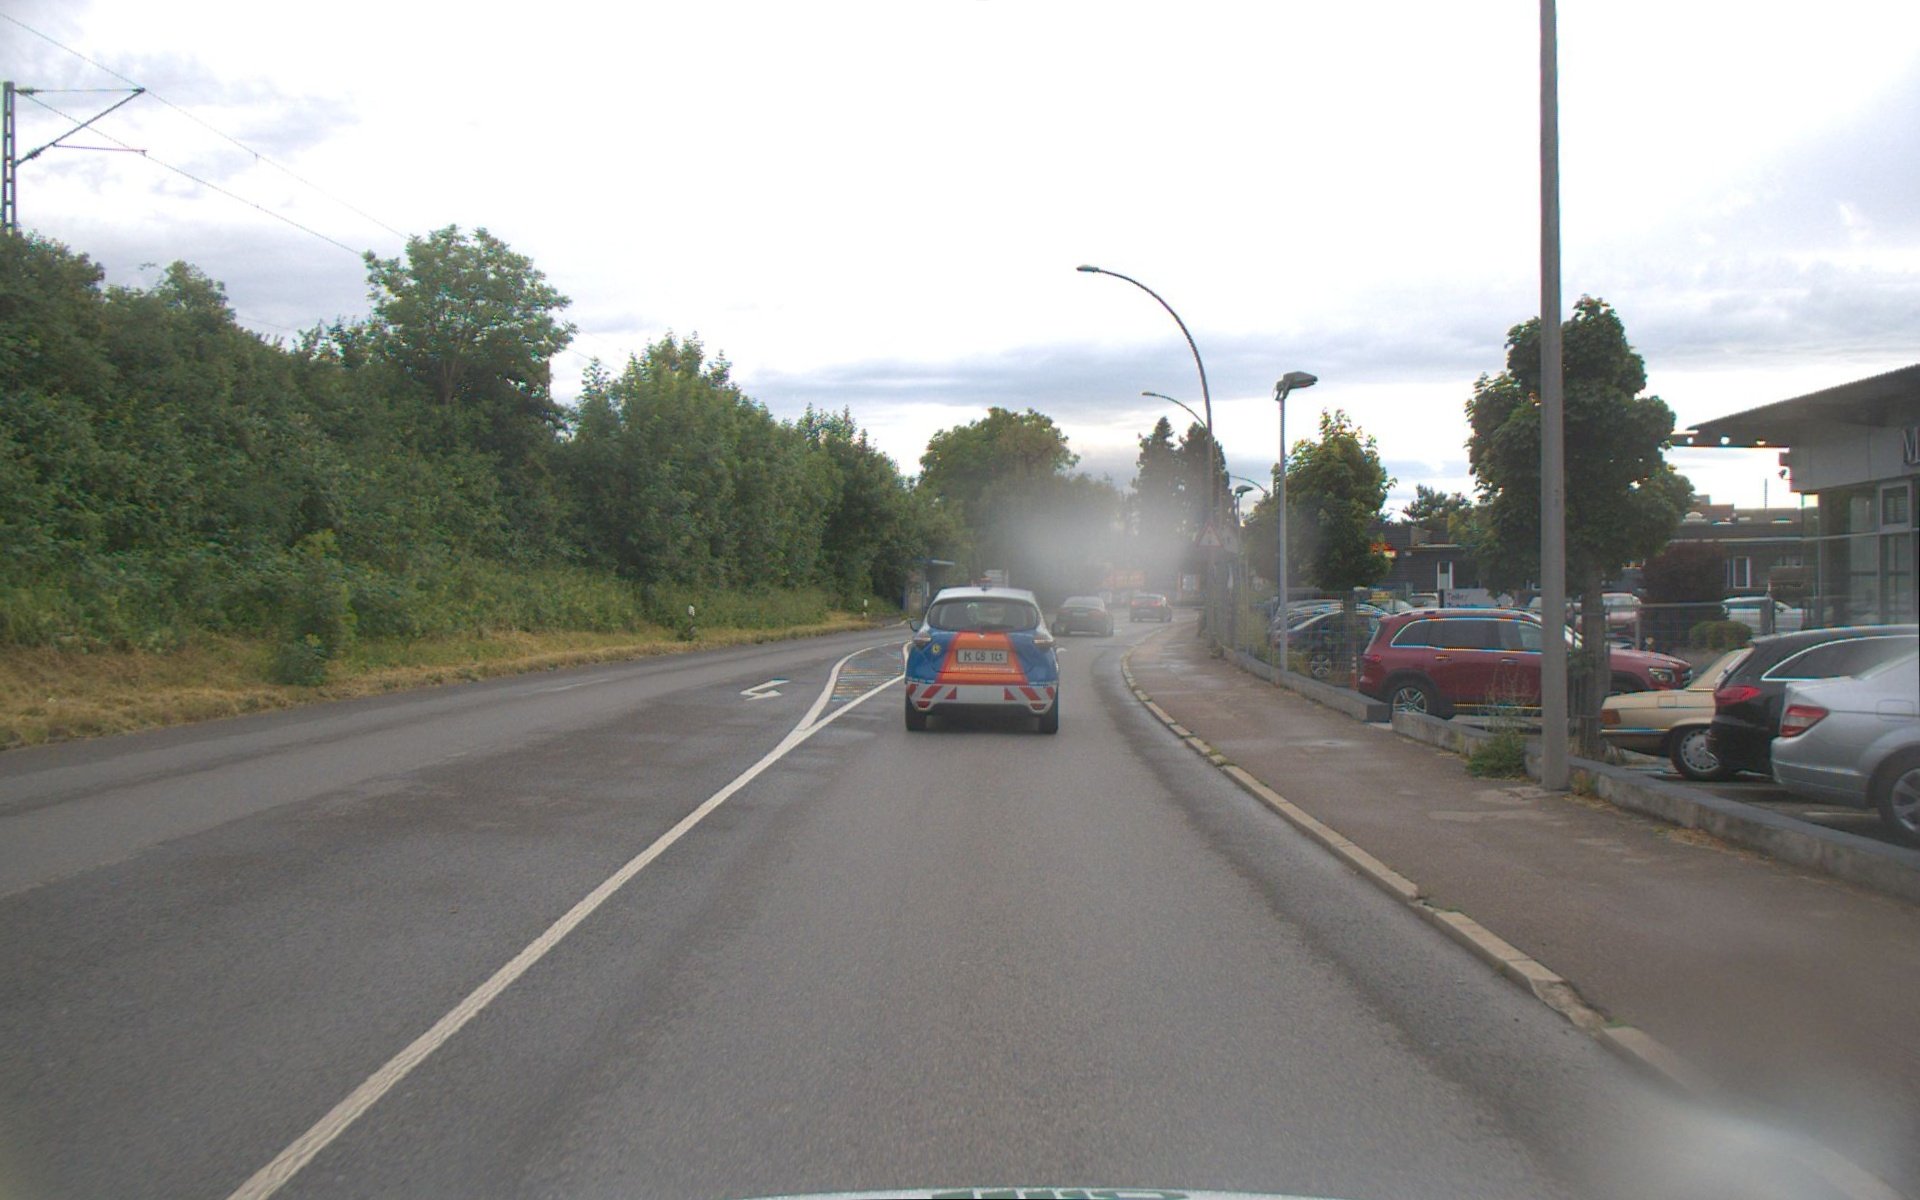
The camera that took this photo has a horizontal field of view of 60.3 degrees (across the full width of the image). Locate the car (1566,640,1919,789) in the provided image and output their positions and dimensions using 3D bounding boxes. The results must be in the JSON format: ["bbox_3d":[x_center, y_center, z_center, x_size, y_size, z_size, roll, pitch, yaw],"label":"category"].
[{"bbox_3d":[8.392,1.113,16.551,4.144,1.324,1.731,0,-2,31],"label":"car"}]

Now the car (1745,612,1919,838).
[{"bbox_3d":[7.674,0.817,11.124,4.089,1.493,1.831,-1,-1,35],"label":"car"}]

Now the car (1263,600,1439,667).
[{"bbox_3d":[9.477,0.812,40.302,3.904,1.433,1.594,3,-1,2],"label":"car"}]

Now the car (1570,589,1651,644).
[{"bbox_3d":[19.006,0.504,48.238,1.954,1.445,3.997,2,-1,24],"label":"car"}]

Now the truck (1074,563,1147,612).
[{"bbox_3d":[12.037,-0.947,131.403,2.645,3.471,9.062,2,-1,26],"label":"truck"}]

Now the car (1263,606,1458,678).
[{"bbox_3d":[9.076,0.947,37.756,4.021,1.394,2.001,3,-1,5],"label":"car"}]

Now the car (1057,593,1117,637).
[{"bbox_3d":[4.471,0.534,57.906,1.684,1.400,3.937,2,-1,10],"label":"car"}]

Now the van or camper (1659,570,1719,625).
[{"bbox_3d":[29.583,-0.057,67.029,1.955,1.972,5.424,2,-1,26],"label":"van or camper"}]

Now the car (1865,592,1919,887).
[{"bbox_3d":[7.117,0.843,8.659,3.922,1.583,1.891,2,-1,37],"label":"car"}]

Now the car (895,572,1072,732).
[{"bbox_3d":[0.296,0.537,19.298,1.849,1.660,4.001,0,0,1],"label":"car"}]

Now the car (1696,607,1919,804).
[{"bbox_3d":[8.435,0.916,13.922,3.883,1.518,1.972,2,-1,30],"label":"car"}]

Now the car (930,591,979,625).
[{"bbox_3d":[-0.248,0.425,82.960,1.951,1.499,4.703,3,-1,6],"label":"car"}]

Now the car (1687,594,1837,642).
[{"bbox_3d":[27.597,0.625,56.967,4.548,1.424,1.717,2,-1,29],"label":"car"}]

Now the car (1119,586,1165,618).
[{"bbox_3d":[9.334,0.113,84.610,1.951,1.445,4.003,2,-1,11],"label":"car"}]

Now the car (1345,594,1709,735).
[{"bbox_3d":[8.082,0.876,23.669,4.596,1.691,1.996,2,-1,30],"label":"car"}]
